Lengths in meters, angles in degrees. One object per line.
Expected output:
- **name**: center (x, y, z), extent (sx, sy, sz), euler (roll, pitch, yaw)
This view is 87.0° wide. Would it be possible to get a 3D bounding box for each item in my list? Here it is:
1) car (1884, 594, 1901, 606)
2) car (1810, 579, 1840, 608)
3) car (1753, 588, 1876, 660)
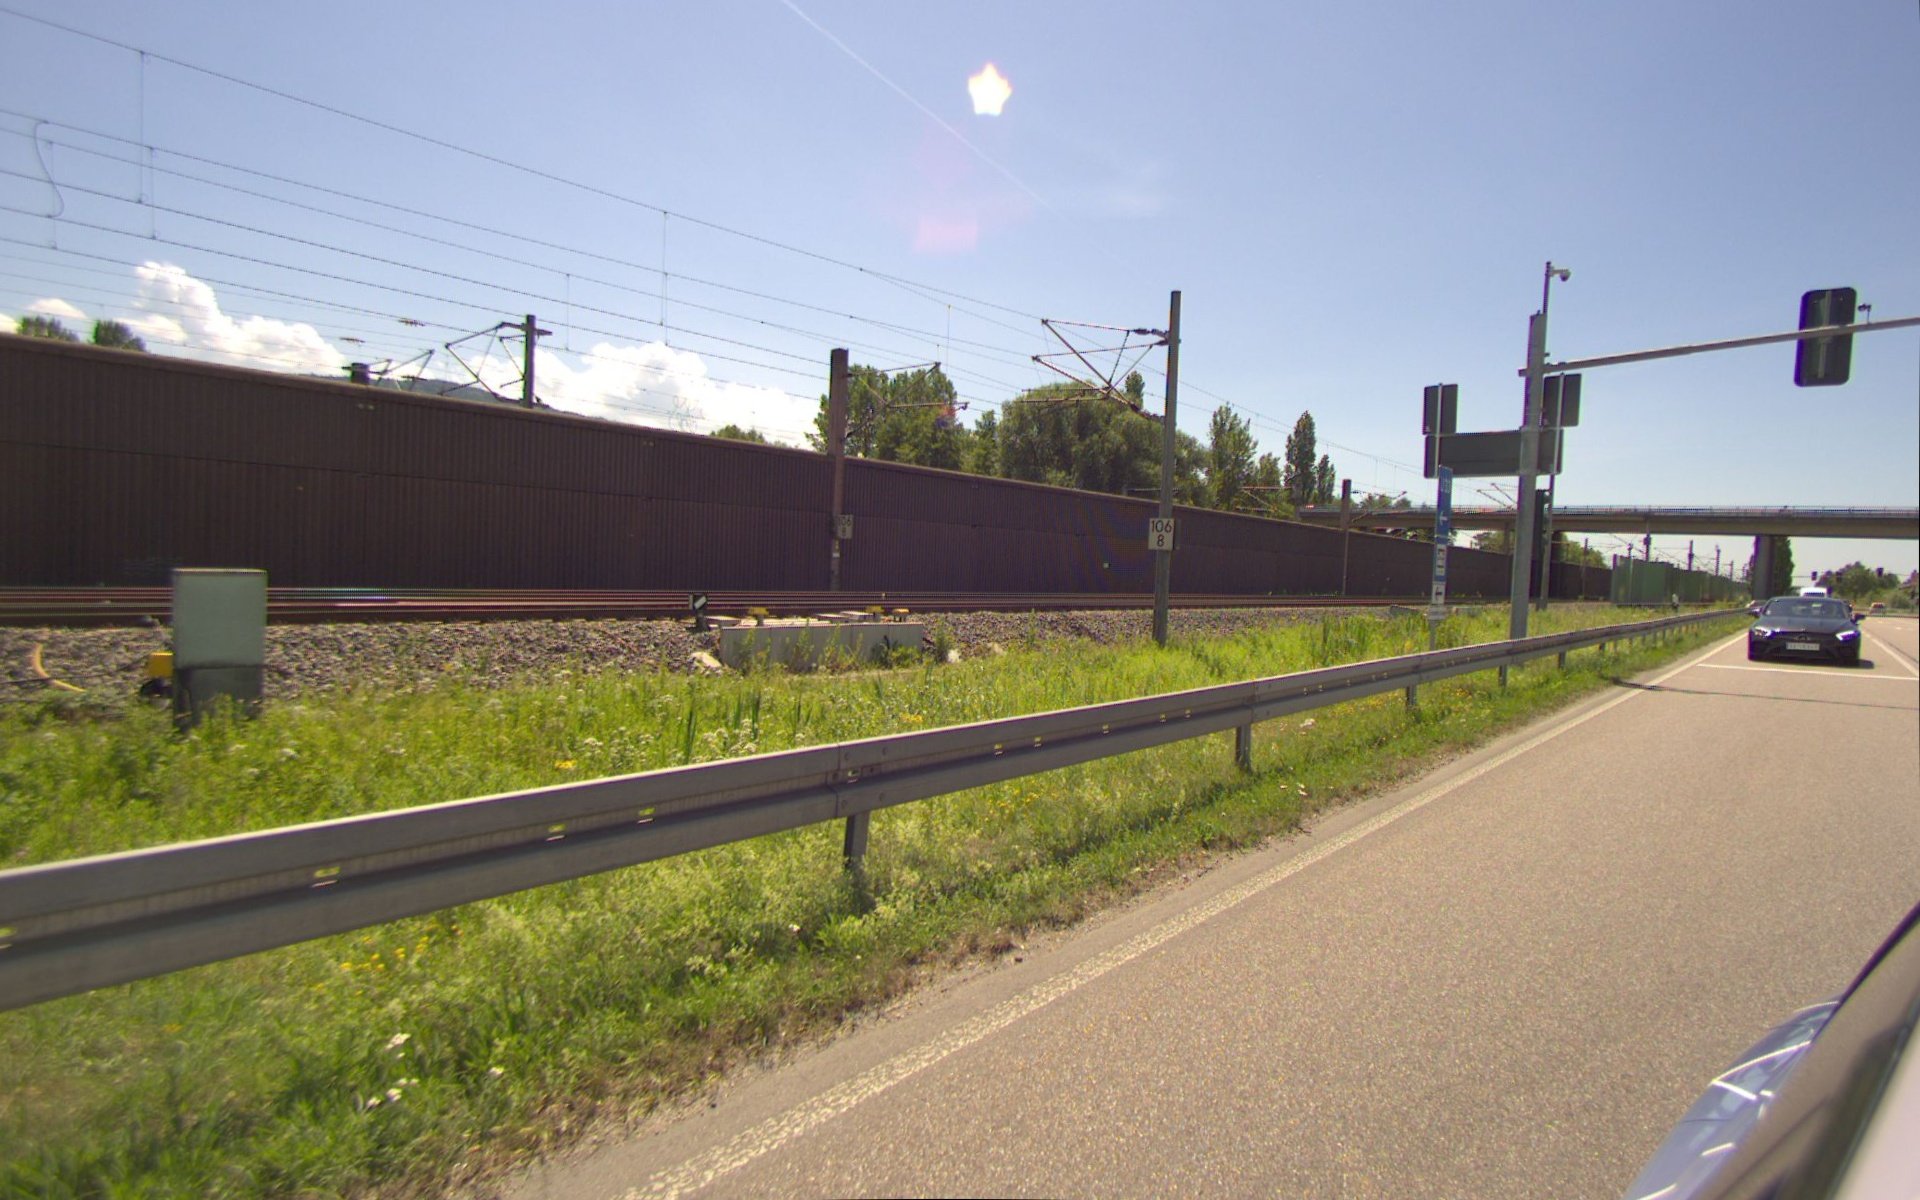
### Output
- **car**: center (125.310, -0.053, 135.979), extent (1.584, 1.581, 3.631), euler (2, 2, 42)
- **car**: center (78.084, -0.586, 91.319), extent (1.906, 2.472, 4.577), euler (2, 2, 42)
- **car**: center (19.169, 0.470, 22.663), extent (1.906, 1.381, 4.577), euler (3, 2, 42)
